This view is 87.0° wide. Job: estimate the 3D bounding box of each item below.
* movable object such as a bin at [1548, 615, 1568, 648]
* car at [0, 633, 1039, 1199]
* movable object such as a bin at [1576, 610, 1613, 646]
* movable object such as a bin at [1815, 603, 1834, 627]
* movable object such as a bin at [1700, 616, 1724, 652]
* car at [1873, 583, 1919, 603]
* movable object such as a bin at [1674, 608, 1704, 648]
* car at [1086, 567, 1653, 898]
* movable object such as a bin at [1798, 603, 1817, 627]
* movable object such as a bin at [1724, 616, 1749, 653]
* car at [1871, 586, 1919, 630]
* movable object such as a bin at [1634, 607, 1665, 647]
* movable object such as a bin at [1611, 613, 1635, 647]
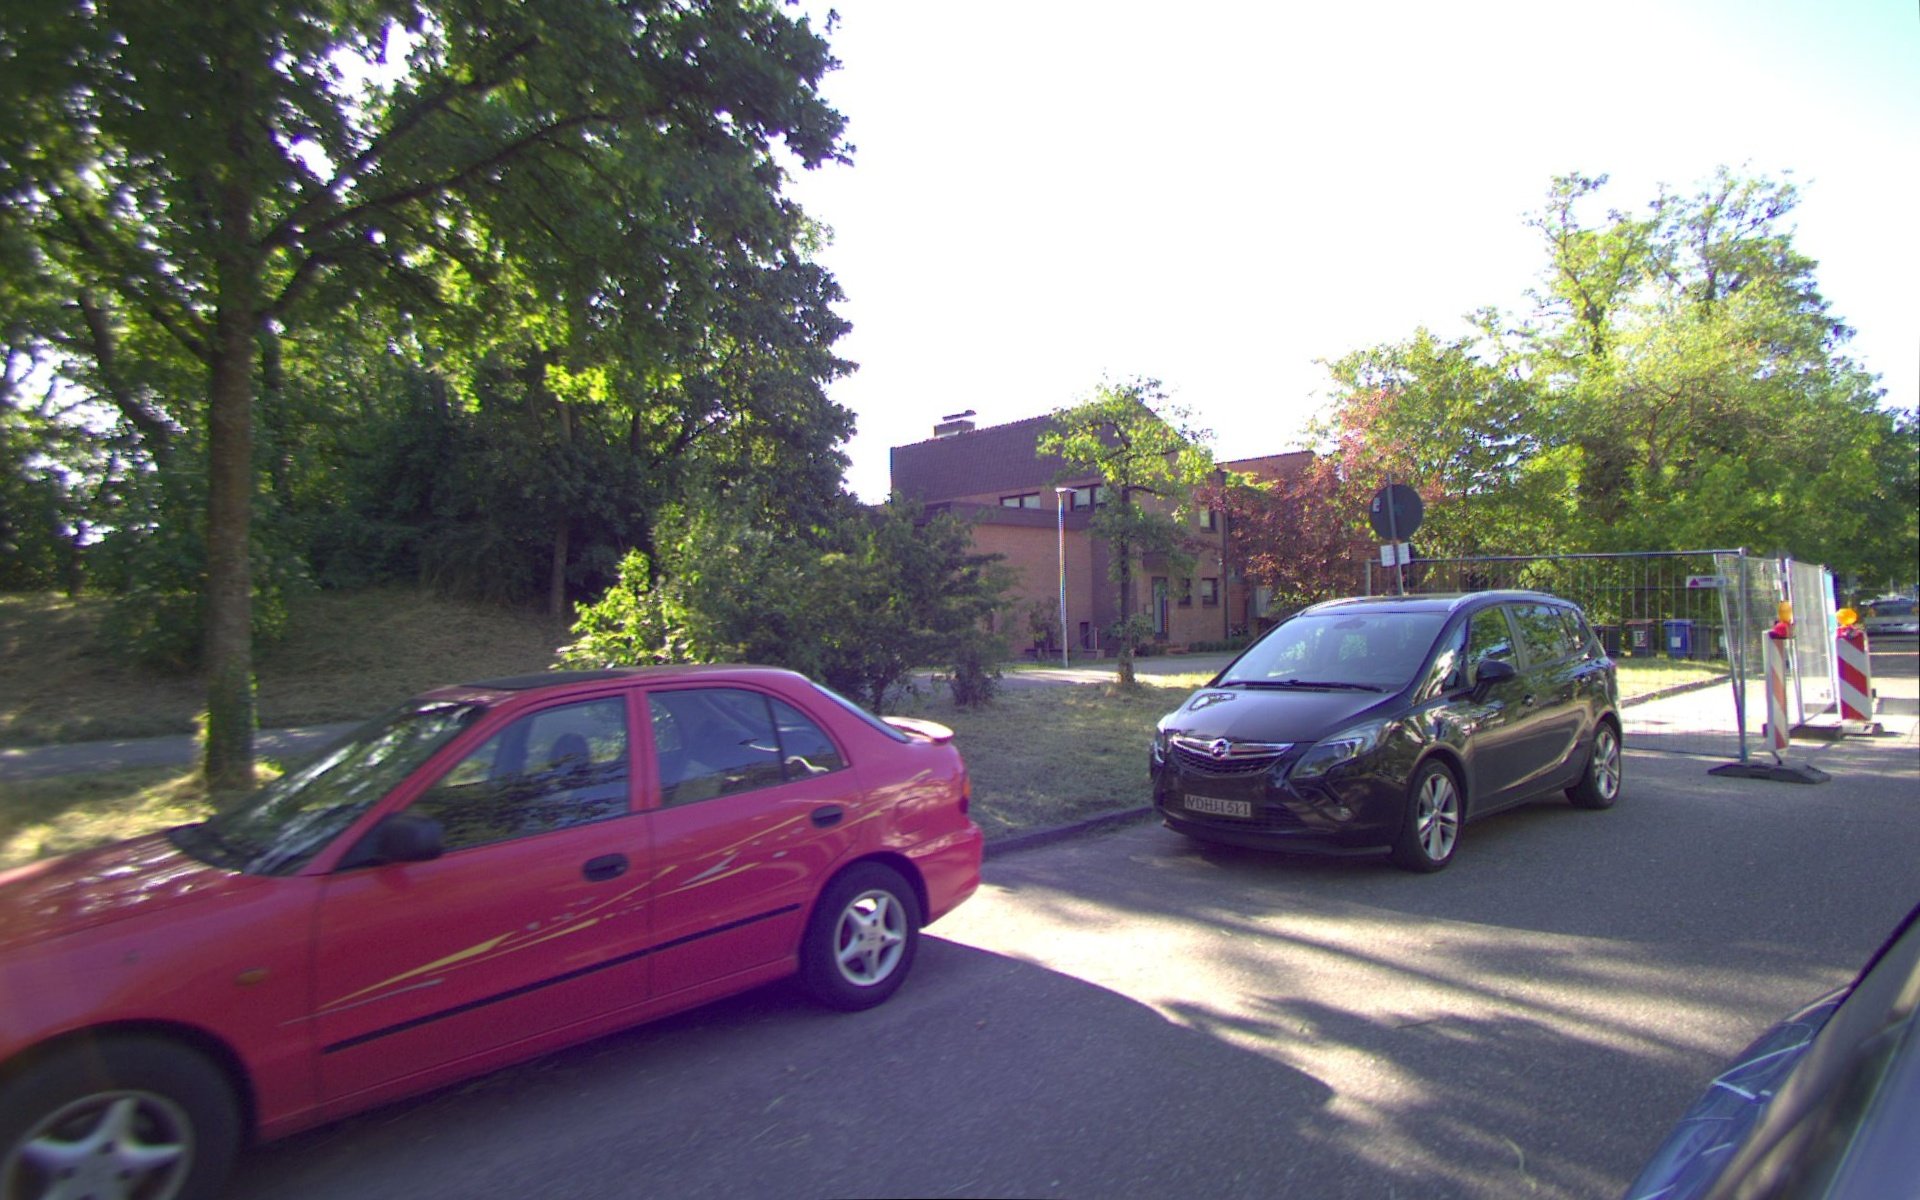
[{"bbox_3d":[16.551,0.872,28.015,0.423,0.893,0.518,0,0,36],"label":"movable object such as a bin"},{"bbox_3d":[-1.710,0.916,3.841,4.086,1.393,1.662,-1,-3,-44],"label":"car"},{"bbox_3d":[17.264,0.745,27.545,0.683,0.940,0.695,-1,0,-42],"label":"movable object such as a bin"},{"bbox_3d":[32.619,0.567,38.178,0.483,0.872,0.550,-3,-2,44],"label":"movable object such as a bin"},{"bbox_3d":[18.984,0.850,25.550,0.476,0.881,0.413,-1,0,-42],"label":"movable object such as a bin"},{"bbox_3d":[96.979,-0.698,103.465,1.967,2.030,5.258,0,-1,-44],"label":"car"},{"bbox_3d":[18.772,0.714,26.064,0.598,1.012,0.519,-1,0,-42],"label":"movable object such as a bin"},{"bbox_3d":[3.094,0.687,7.218,4.341,1.672,1.813,-1,-3,-39],"label":"car"},{"bbox_3d":[32.269,0.563,38.522,0.483,0.872,0.550,-3,-2,44],"label":"movable object such as a bin"},{"bbox_3d":[19.383,0.856,25.251,0.476,0.881,0.413,-1,0,-42],"label":"movable object such as a bin"},{"bbox_3d":[37.480,0.310,40.145,4.069,1.643,1.679,0,-3,-44],"label":"car"},{"bbox_3d":[18.164,0.712,26.662,0.598,1.012,0.563,-1,0,-42],"label":"movable object such as a bin"},{"bbox_3d":[17.698,0.803,27.022,0.516,0.881,0.419,-1,0,-42],"label":"movable object such as a bin"}]
